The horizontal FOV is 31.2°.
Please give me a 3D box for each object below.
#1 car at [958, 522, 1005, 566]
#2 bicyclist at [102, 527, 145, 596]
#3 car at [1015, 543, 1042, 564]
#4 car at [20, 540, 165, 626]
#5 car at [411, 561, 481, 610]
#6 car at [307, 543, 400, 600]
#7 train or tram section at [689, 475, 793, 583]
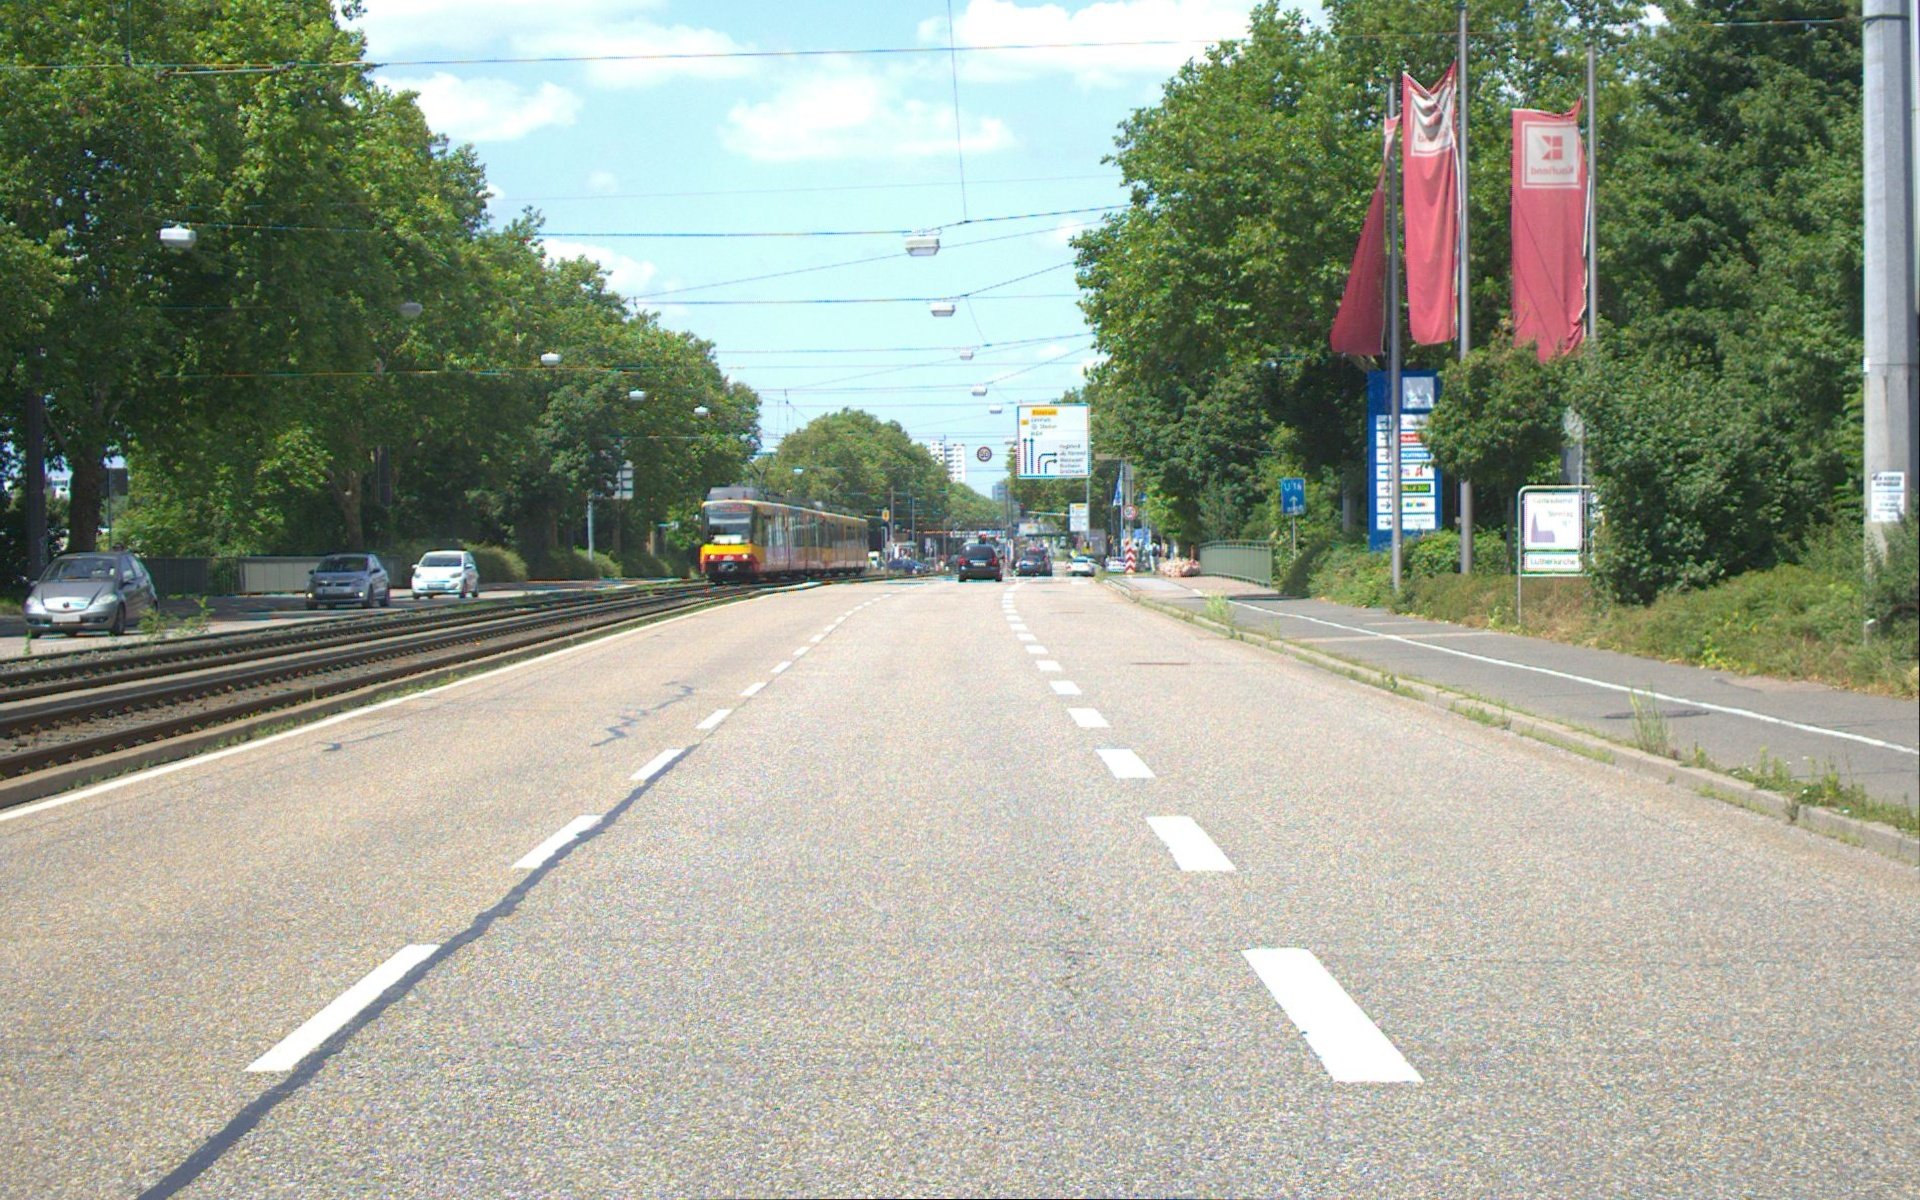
[{"bbox_3d":[0.905,-2.367,145.666,1.899,1.799,3.976,1,1,0],"label":"car"},{"bbox_3d":[-19.668,-0.908,80.880,0.623,1.612,1.062,2,1,6],"label":"bicyclist"},{"bbox_3d":[5.142,-3.526,258.927,1.876,1.534,3.777,1,1,0],"label":"car"},{"bbox_3d":[-16.270,-0.346,64.636,1.752,1.530,3.957,-1,1,-1],"label":"car"},{"bbox_3d":[-16.009,-0.471,107.204,1.636,1.431,3.722,-2,1,-1],"label":"car"},{"bbox_3d":[-15.911,-0.755,90.312,1.636,1.417,4.127,-1,1,1],"label":"car"},{"bbox_3d":[-9.033,-2.926,143.481,3.048,4.252,15.423,-1,1,1],"label":"train or tram section"}]
